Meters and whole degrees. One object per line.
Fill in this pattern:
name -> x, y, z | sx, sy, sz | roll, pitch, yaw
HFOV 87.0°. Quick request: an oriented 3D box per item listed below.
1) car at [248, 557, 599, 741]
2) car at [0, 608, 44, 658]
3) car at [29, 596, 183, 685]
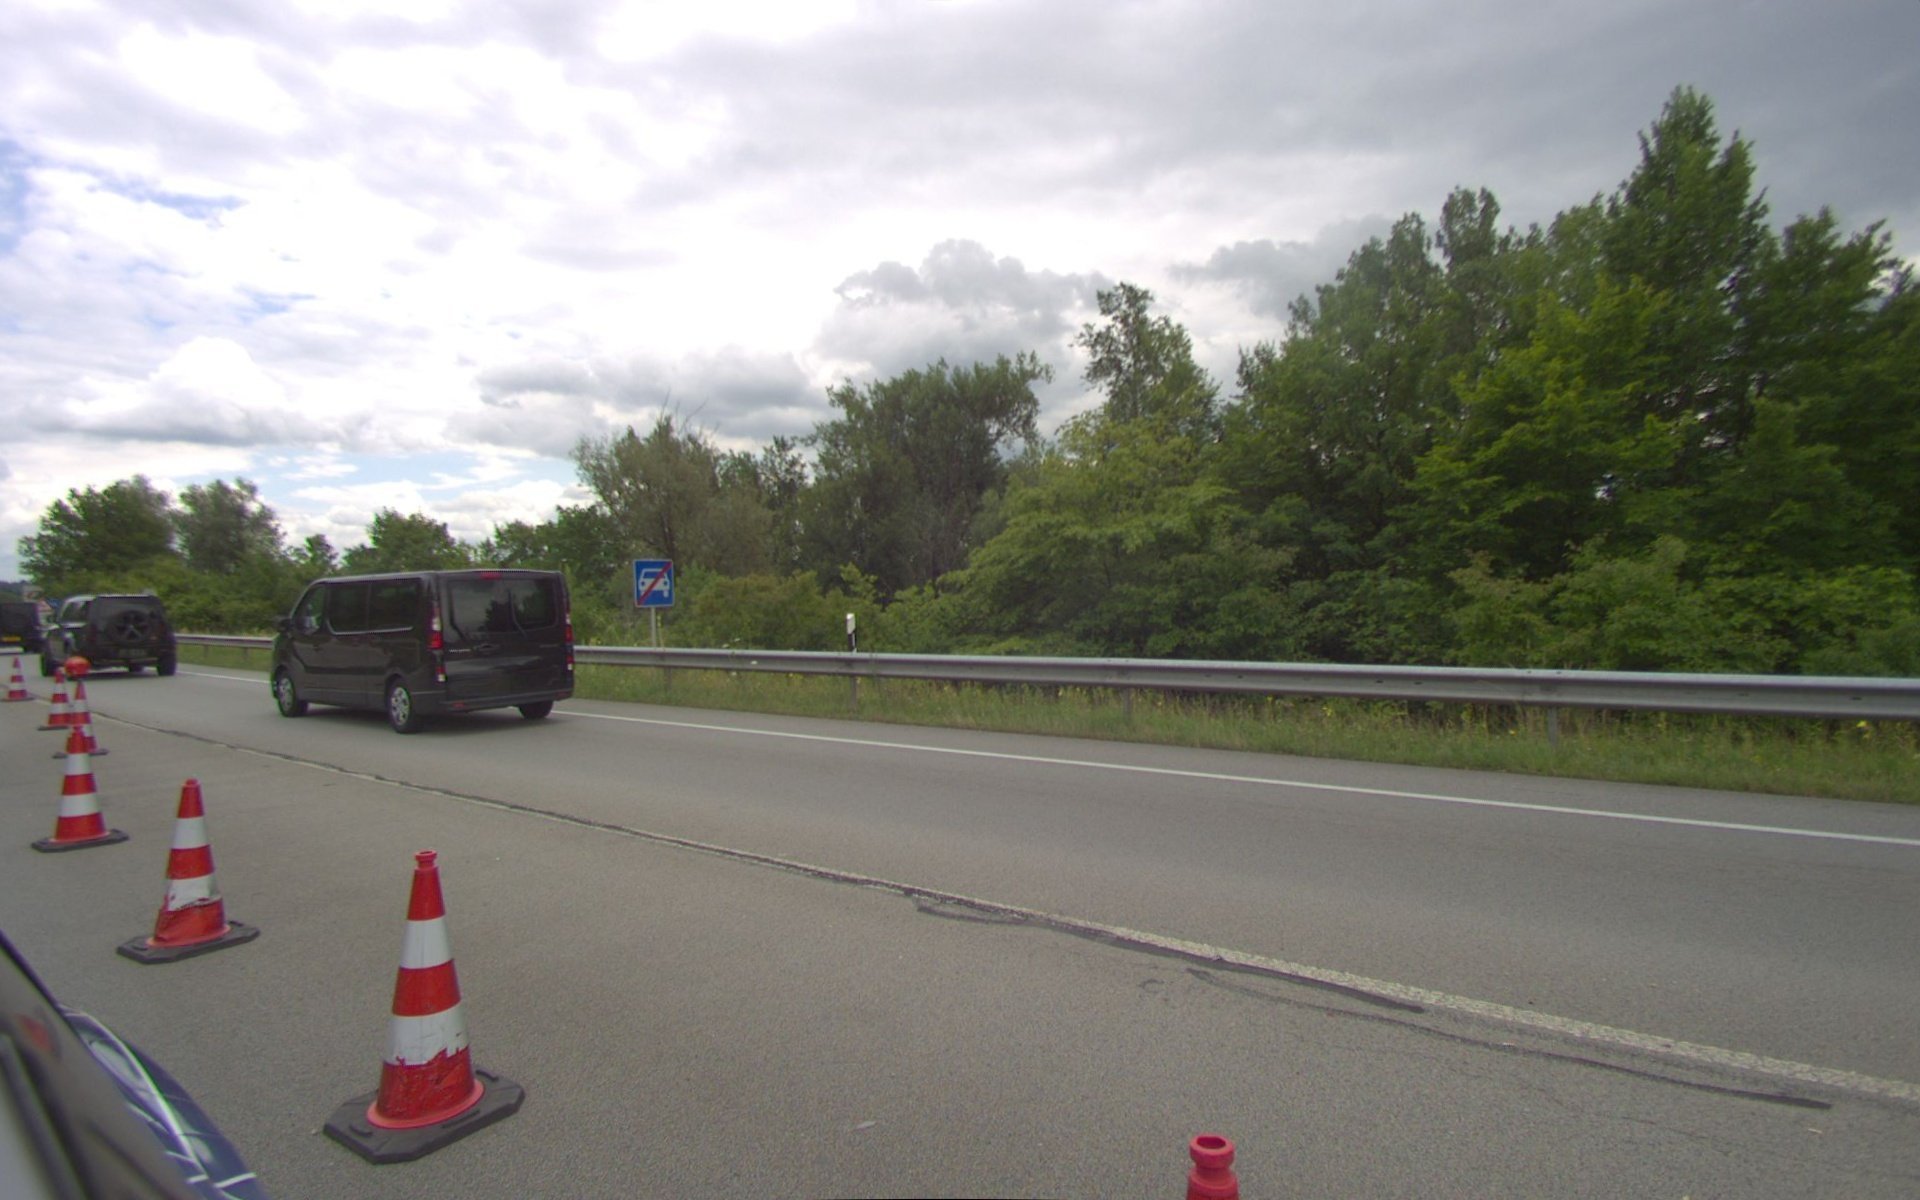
car -> -7.249, 0.577, 13.419 | 5.305, 2.002, 2.011 | -1, 0, 36
car -> -37.180, 1.280, 39.350 | 4.531, 1.844, 1.904 | -1, 0, 42
car -> -20.252, 0.908, 23.941 | 4.527, 1.898, 1.947 | -1, 0, 39
